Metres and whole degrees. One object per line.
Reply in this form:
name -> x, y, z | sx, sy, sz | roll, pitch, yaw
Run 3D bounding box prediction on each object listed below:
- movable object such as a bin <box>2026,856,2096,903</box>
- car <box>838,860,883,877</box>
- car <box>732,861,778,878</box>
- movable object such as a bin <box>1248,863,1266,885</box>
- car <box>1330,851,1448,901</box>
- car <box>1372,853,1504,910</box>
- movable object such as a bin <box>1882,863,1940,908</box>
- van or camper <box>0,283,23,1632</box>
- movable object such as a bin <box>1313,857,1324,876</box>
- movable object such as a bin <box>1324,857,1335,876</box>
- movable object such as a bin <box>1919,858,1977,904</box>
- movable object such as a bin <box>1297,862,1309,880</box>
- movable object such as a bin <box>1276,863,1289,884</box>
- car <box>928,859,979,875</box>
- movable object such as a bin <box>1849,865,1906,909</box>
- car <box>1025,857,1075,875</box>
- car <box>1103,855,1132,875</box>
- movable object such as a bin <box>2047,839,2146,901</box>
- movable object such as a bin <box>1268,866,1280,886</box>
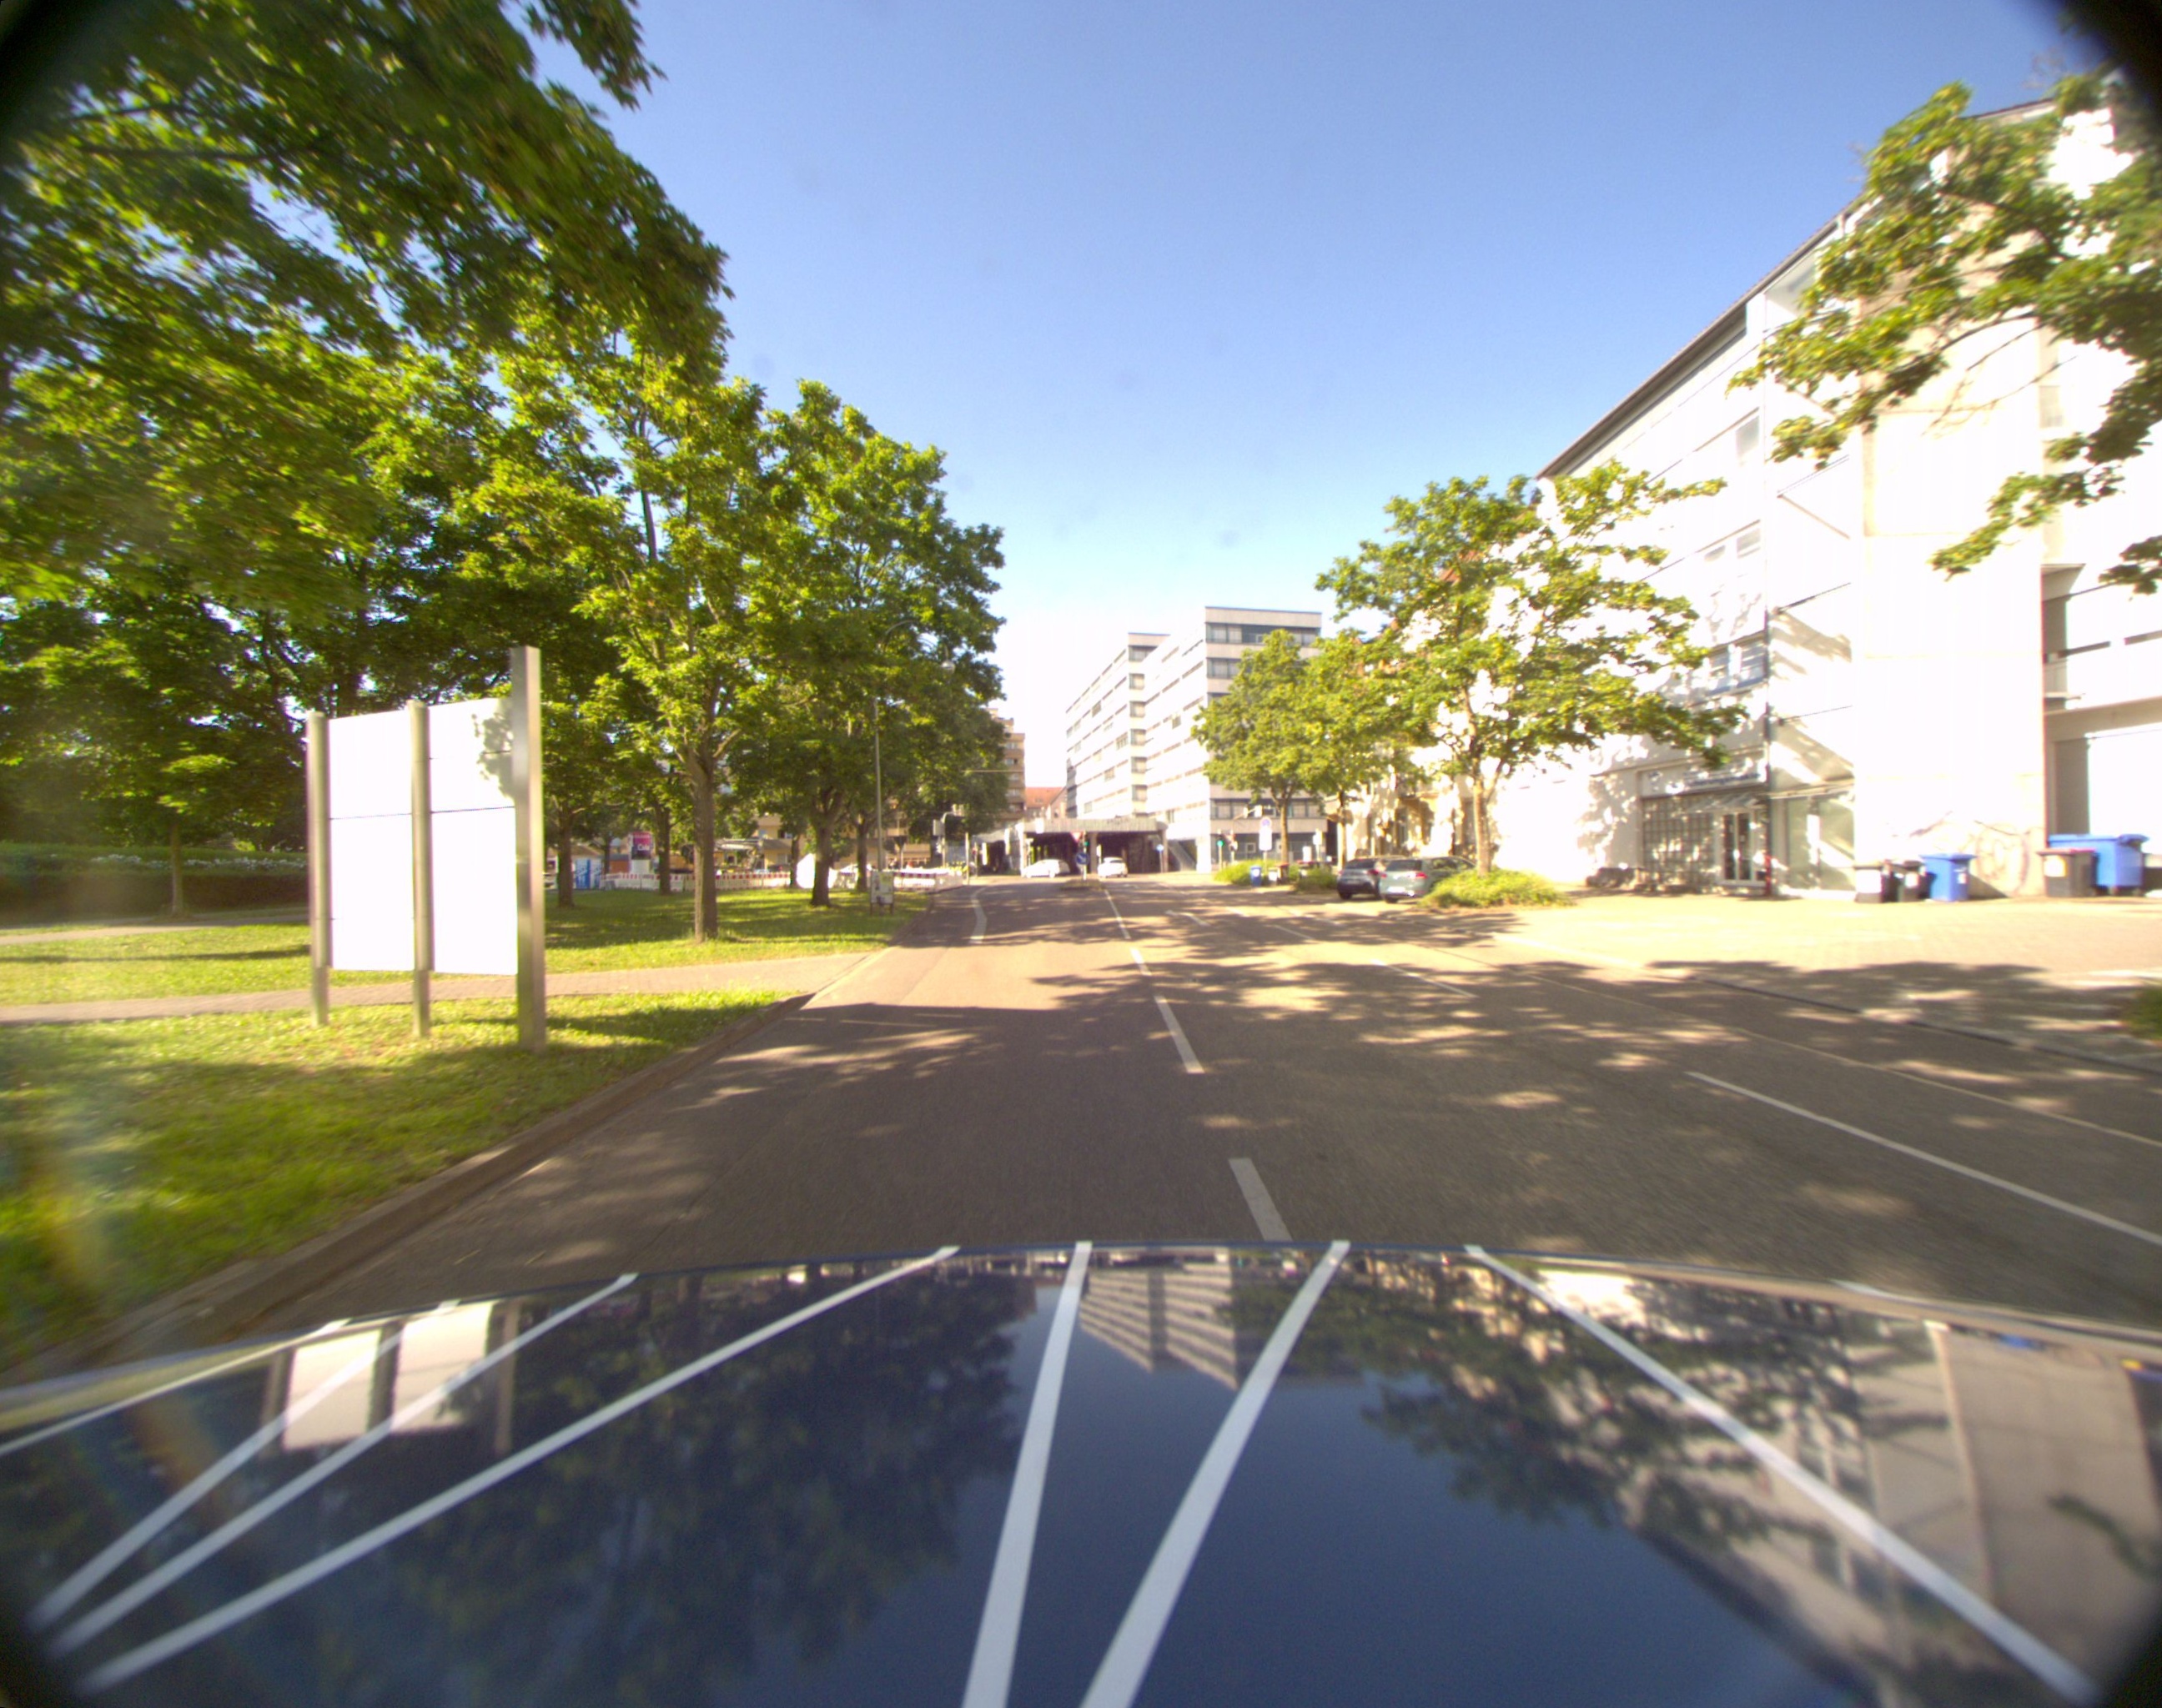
movable object such as a bin -> 20.905, 0.528, 16.220 | 0.622, 0.967, 0.690 | -1, 0, -4
car -> -21.506, 1.408, 74.246 | 3.751, 1.545, 1.931 | -1, 0, 10
car -> -32.669, 1.538, 76.261 | 3.751, 1.545, 1.931 | -1, 0, 10
movable object such as a bin -> 8.855, 1.022, 38.200 | 0.675, 1.067, 0.804 | -1, 1, 25
car -> 10.746, 0.715, 26.429 | 4.006, 1.455, 1.807 | -3, 1, -33
car -> 11.010, 0.780, 23.391 | 4.006, 1.455, 1.807 | -3, 1, -33
movable object such as a bin -> 17.912, 0.668, 16.404 | 0.622, 0.922, 0.575 | -1, 1, -4
van or camper -> -5.354, 0.173, 0.310 | 5.997, 2.966, 2.670 | 2, 0, -1
movable object such as a bin -> 13.089, 0.696, 41.845 | 0.476, 1.055, 0.551 | -1, 1, 25
movable object such as a bin -> 13.615, 0.691, 41.592 | 0.476, 1.055, 0.551 | -1, 1, 25
movable object such as a bin -> 18.689, 0.572, 16.385 | 0.622, 0.967, 0.575 | -1, 1, -4
movable object such as a bin -> 11.481, 0.874, 39.300 | 0.476, 0.938, 0.543 | -1, 1, 25
movable object such as a bin -> 10.218, 0.986, 38.550 | 0.476, 1.035, 0.543 | -2, 1, 25
car -> -11.747, 1.184, 70.094 | 4.317, 1.398, 1.929 | -1, 0, 0
movable object such as a bin -> 17.174, 0.699, 16.389 | 0.622, 0.922, 0.575 | -1, 1, -4
car -> -2.726, 1.026, 66.189 | 4.058, 1.545, 1.934 | -1, 0, 39
car -> 2.753, 0.827, 58.530 | 1.929, 1.443, 3.755 | -1, 0, -2
movable object such as a bin -> 21.747, 0.325, 16.298 | 0.622, 1.272, 1.120 | -1, 0, -4
movable object such as a bin -> 9.627, 1.111, 37.936 | 0.476, 0.954, 0.543 | -2, 1, 25
